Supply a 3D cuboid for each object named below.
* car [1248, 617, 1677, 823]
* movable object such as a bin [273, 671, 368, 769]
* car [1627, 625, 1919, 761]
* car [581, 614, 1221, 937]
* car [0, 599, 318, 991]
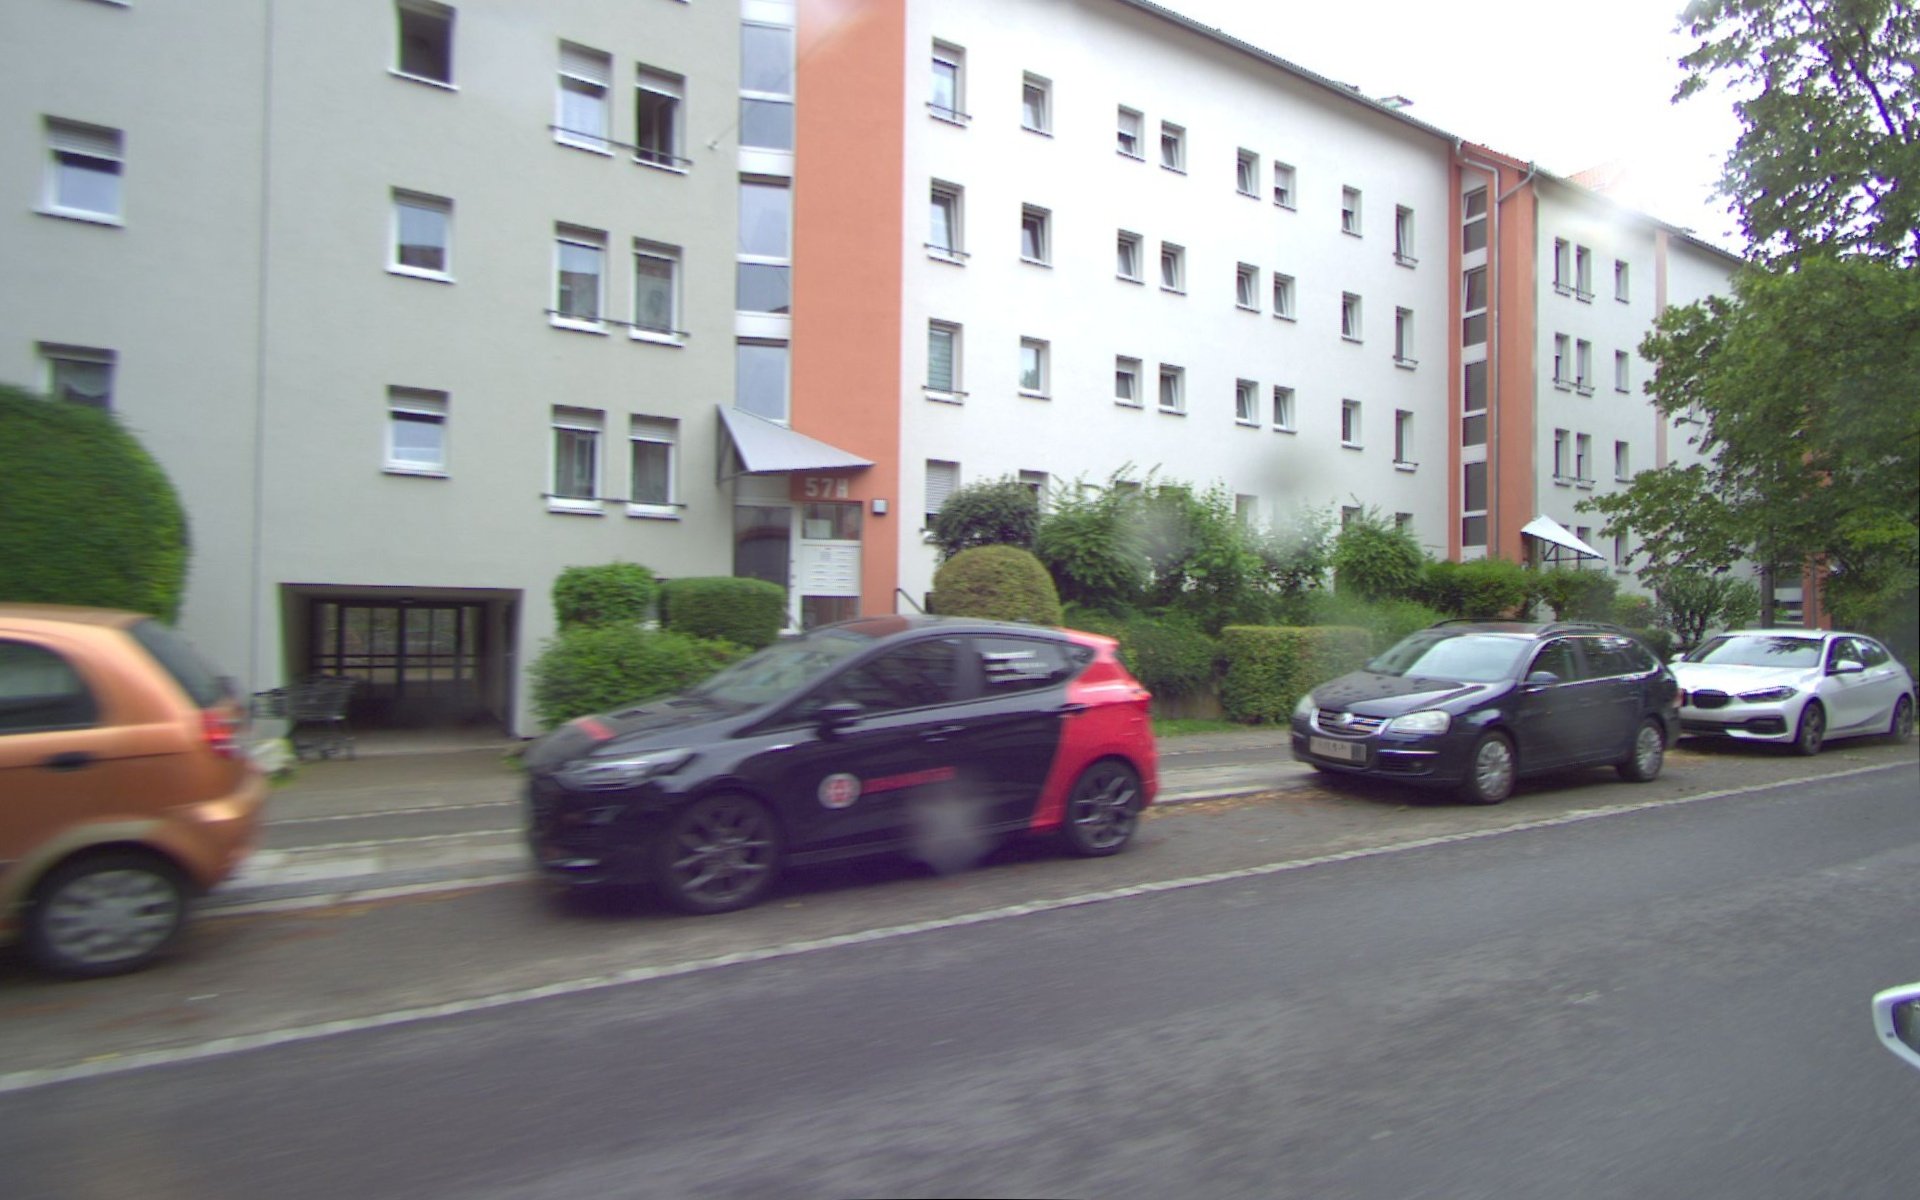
[{"bbox_3d":[4.740,0.937,9.273,4.189,1.487,1.706,1,-1,-34],"label":"car"},{"bbox_3d":[-7.964,1.469,12.513,0.921,1.090,0.854,1,-1,-37],"label":"movable object such as a bin"},{"bbox_3d":[10.696,1.102,13.010,4.258,1.487,1.709,1,-1,-30],"label":"car"},{"bbox_3d":[-0.293,0.865,6.399,3.714,1.487,1.707,1,-1,-32],"label":"car"},{"bbox_3d":[-4.653,0.730,4.101,3.359,1.487,1.547,1,-1,-32],"label":"car"}]
